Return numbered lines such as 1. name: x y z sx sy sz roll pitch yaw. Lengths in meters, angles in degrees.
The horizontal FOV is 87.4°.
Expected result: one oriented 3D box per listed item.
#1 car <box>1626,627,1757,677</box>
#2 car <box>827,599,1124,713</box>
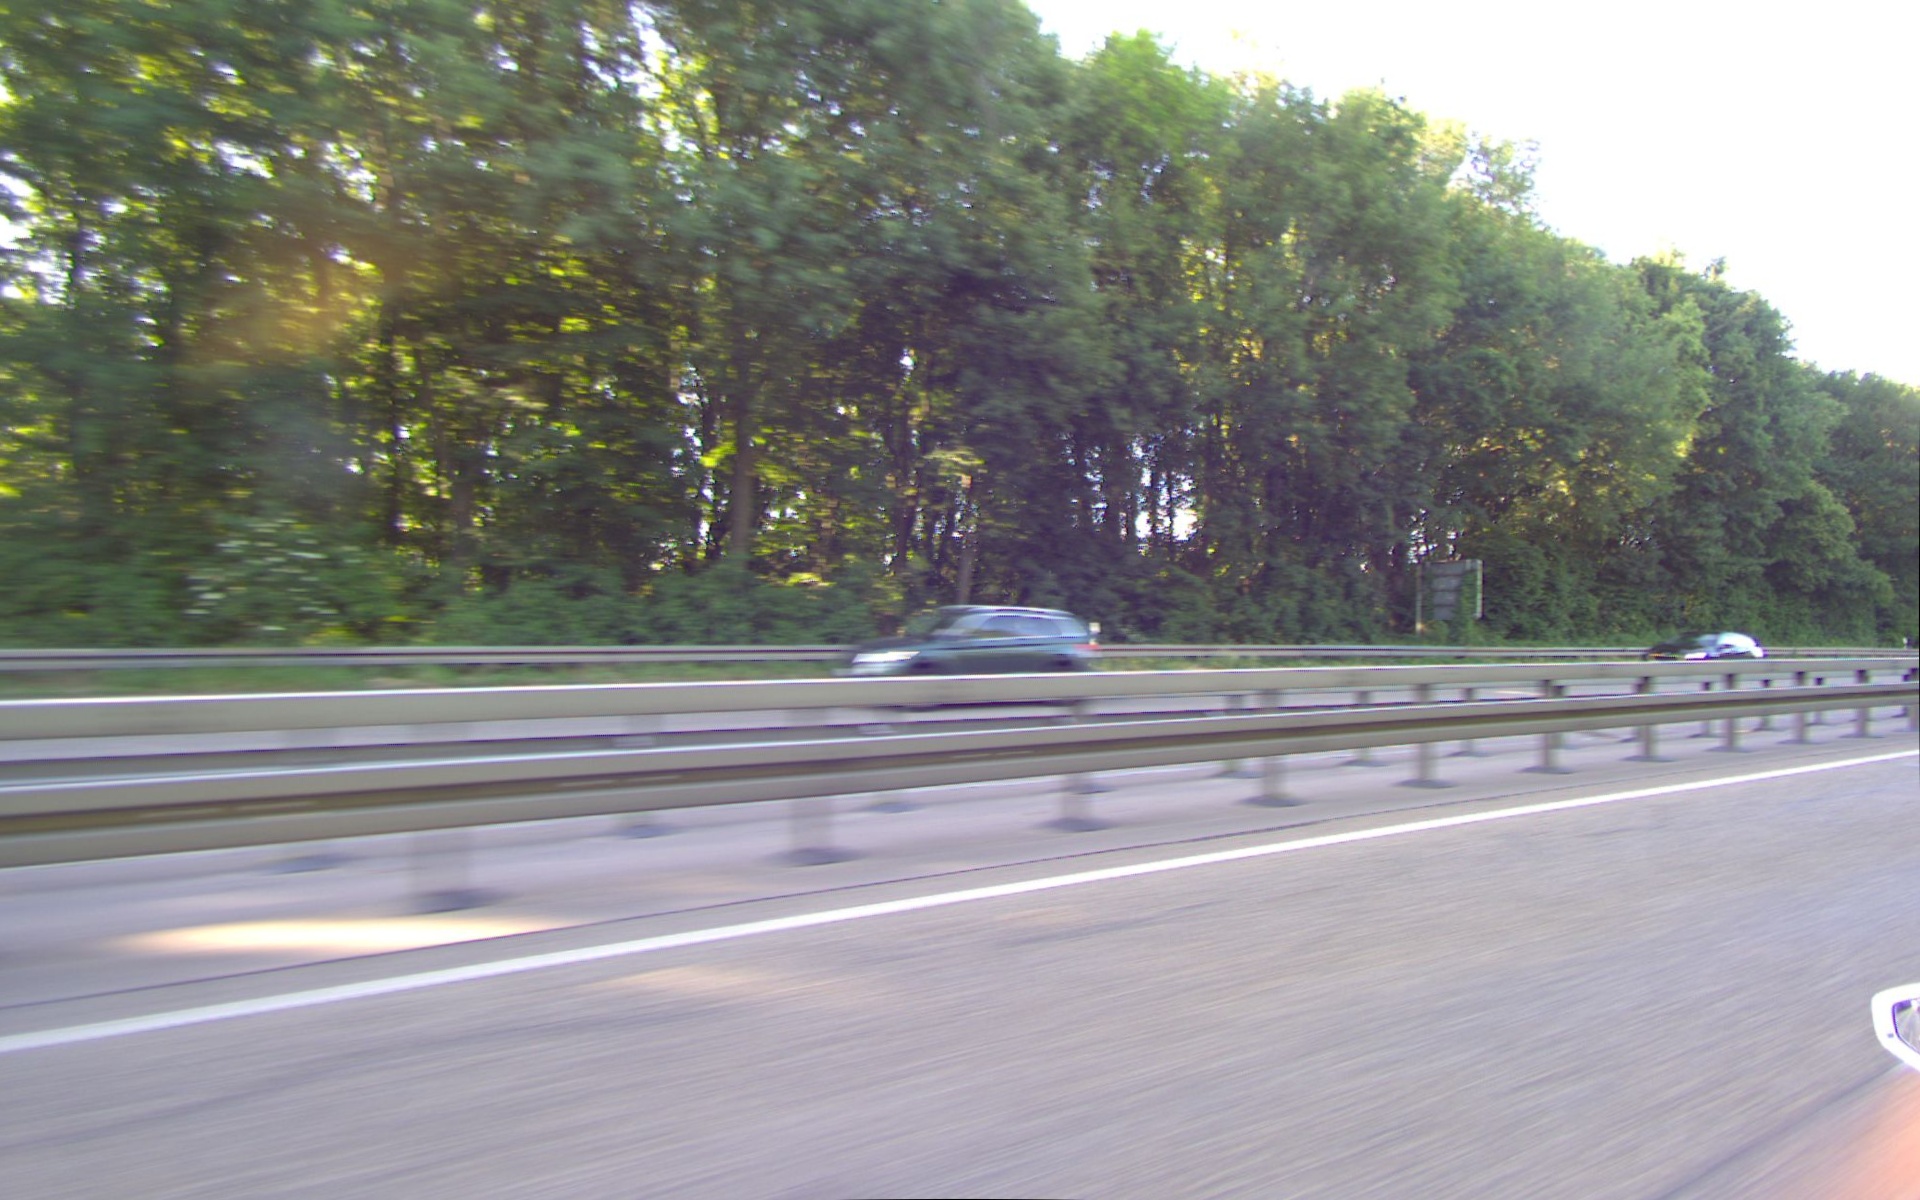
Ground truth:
1. car: 23.354 1.641 32.042 3.954 1.505 1.984 2 -3 -31
2. car: 0.329 0.947 17.350 4.851 1.721 1.984 2 -3 -31
